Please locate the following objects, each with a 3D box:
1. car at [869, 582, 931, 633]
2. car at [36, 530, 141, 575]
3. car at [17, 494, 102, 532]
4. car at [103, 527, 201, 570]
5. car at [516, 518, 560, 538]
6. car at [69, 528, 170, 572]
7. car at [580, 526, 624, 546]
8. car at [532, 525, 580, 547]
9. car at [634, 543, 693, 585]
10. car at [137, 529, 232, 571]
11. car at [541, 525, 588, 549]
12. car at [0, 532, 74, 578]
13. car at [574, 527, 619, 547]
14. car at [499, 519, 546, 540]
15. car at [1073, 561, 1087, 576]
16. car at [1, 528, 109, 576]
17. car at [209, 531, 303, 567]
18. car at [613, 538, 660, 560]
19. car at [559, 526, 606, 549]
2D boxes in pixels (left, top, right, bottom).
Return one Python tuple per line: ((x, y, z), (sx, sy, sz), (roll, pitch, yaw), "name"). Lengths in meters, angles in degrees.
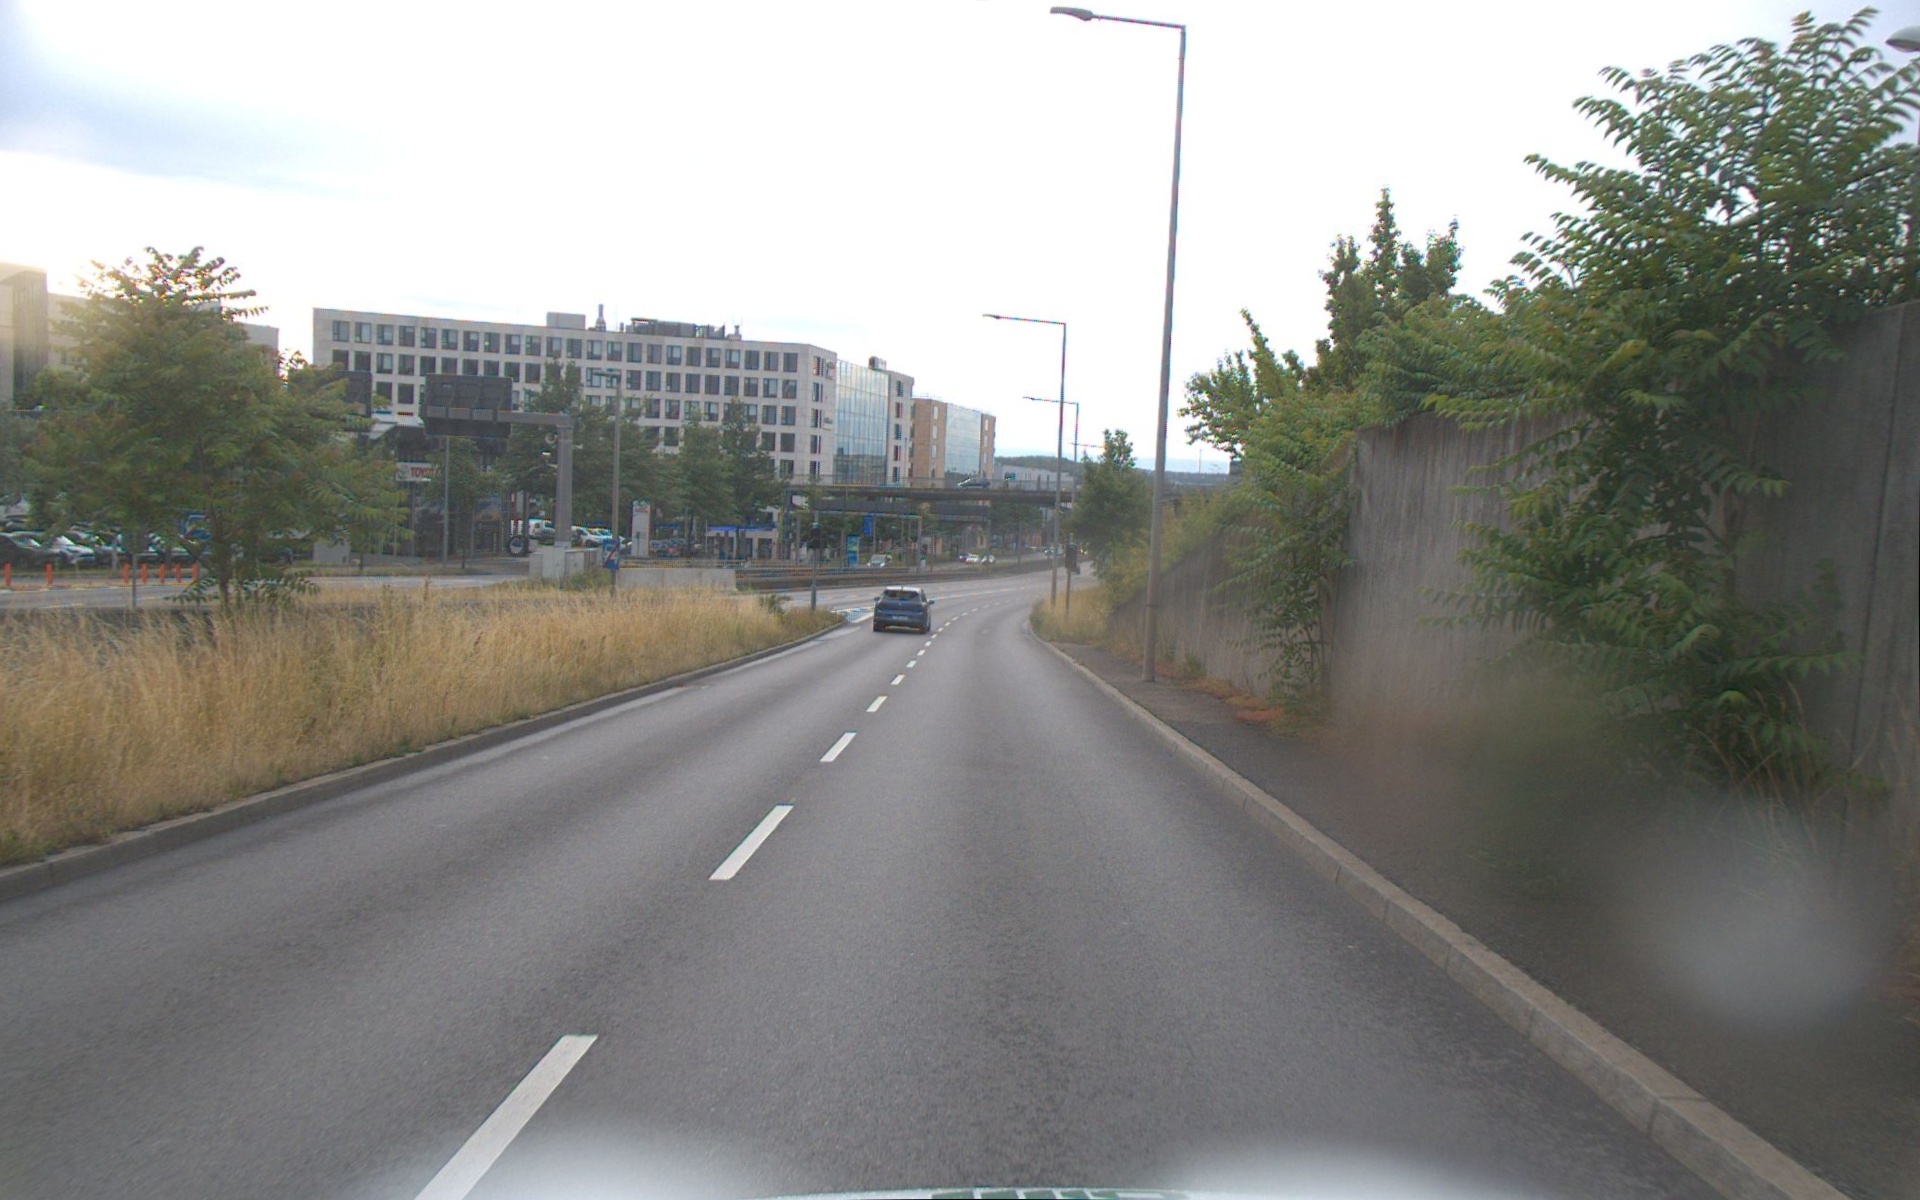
((-1.916, 0.205, 53.918), (1.712, 1.444, 3.480), (-1, 3, 3), "car")
((-40.538, -2.227, 76.949), (3.904, 1.712, 1.926), (5, 4, 9), "car")
((-50.401, -4.874, 92.654), (3.931, 1.812, 1.912), (3, 5, -22), "car")
((-39.918, -2.579, 81.751), (3.904, 1.712, 1.926), (5, 4, 9), "car")
((-43.119, -7.391, 169.100), (3.904, 1.678, 1.823), (5, 4, 5), "car")
((-40.287, -2.409, 79.306), (3.904, 1.712, 1.926), (5, 4, 9), "car")
((-37.061, -6.674, 171.162), (3.904, 1.678, 2.002), (6, 5, 13), "car")
((-38.659, -6.104, 158.258), (3.904, 1.678, 2.002), (5, 4, 6), "car")
((-13.735, -1.684, 76.653), (1.652, 1.617, 3.553), (5, 5, 6), "car")
((-39.400, -2.572, 84.051), (3.904, 1.712, 1.926), (5, 4, 9), "car")
((-38.457, -6.110, 160.941), (3.903, 2.048, 2.002), (4, 2, 13), "car")
((-41.225, -1.991, 72.495), (3.917, 1.627, 1.701), (5, 4, 9), "car")
((-37.064, -6.414, 168.592), (3.904, 1.678, 2.002), (6, 5, 13), "car")
((-42.993, -6.949, 162.580), (3.904, 1.678, 2.002), (5, 4, 6), "car")
((17.015, -4.471, 234.934), (1.824, 1.779, 4.005), (5, 5, 4), "car")
((-40.881, -2.185, 74.744), (3.904, 1.712, 1.926), (5, 4, 9), "car")
((-38.139, -2.783, 89.699), (1.881, 1.712, 4.498), (7, 5, 26), "car")
((-30.211, -4.754, 154.439), (3.931, 1.679, 1.988), (4, 3, -22), "car")
((-37.265, -6.193, 163.176), (3.904, 1.907, 2.002), (6, 5, 13), "car")
